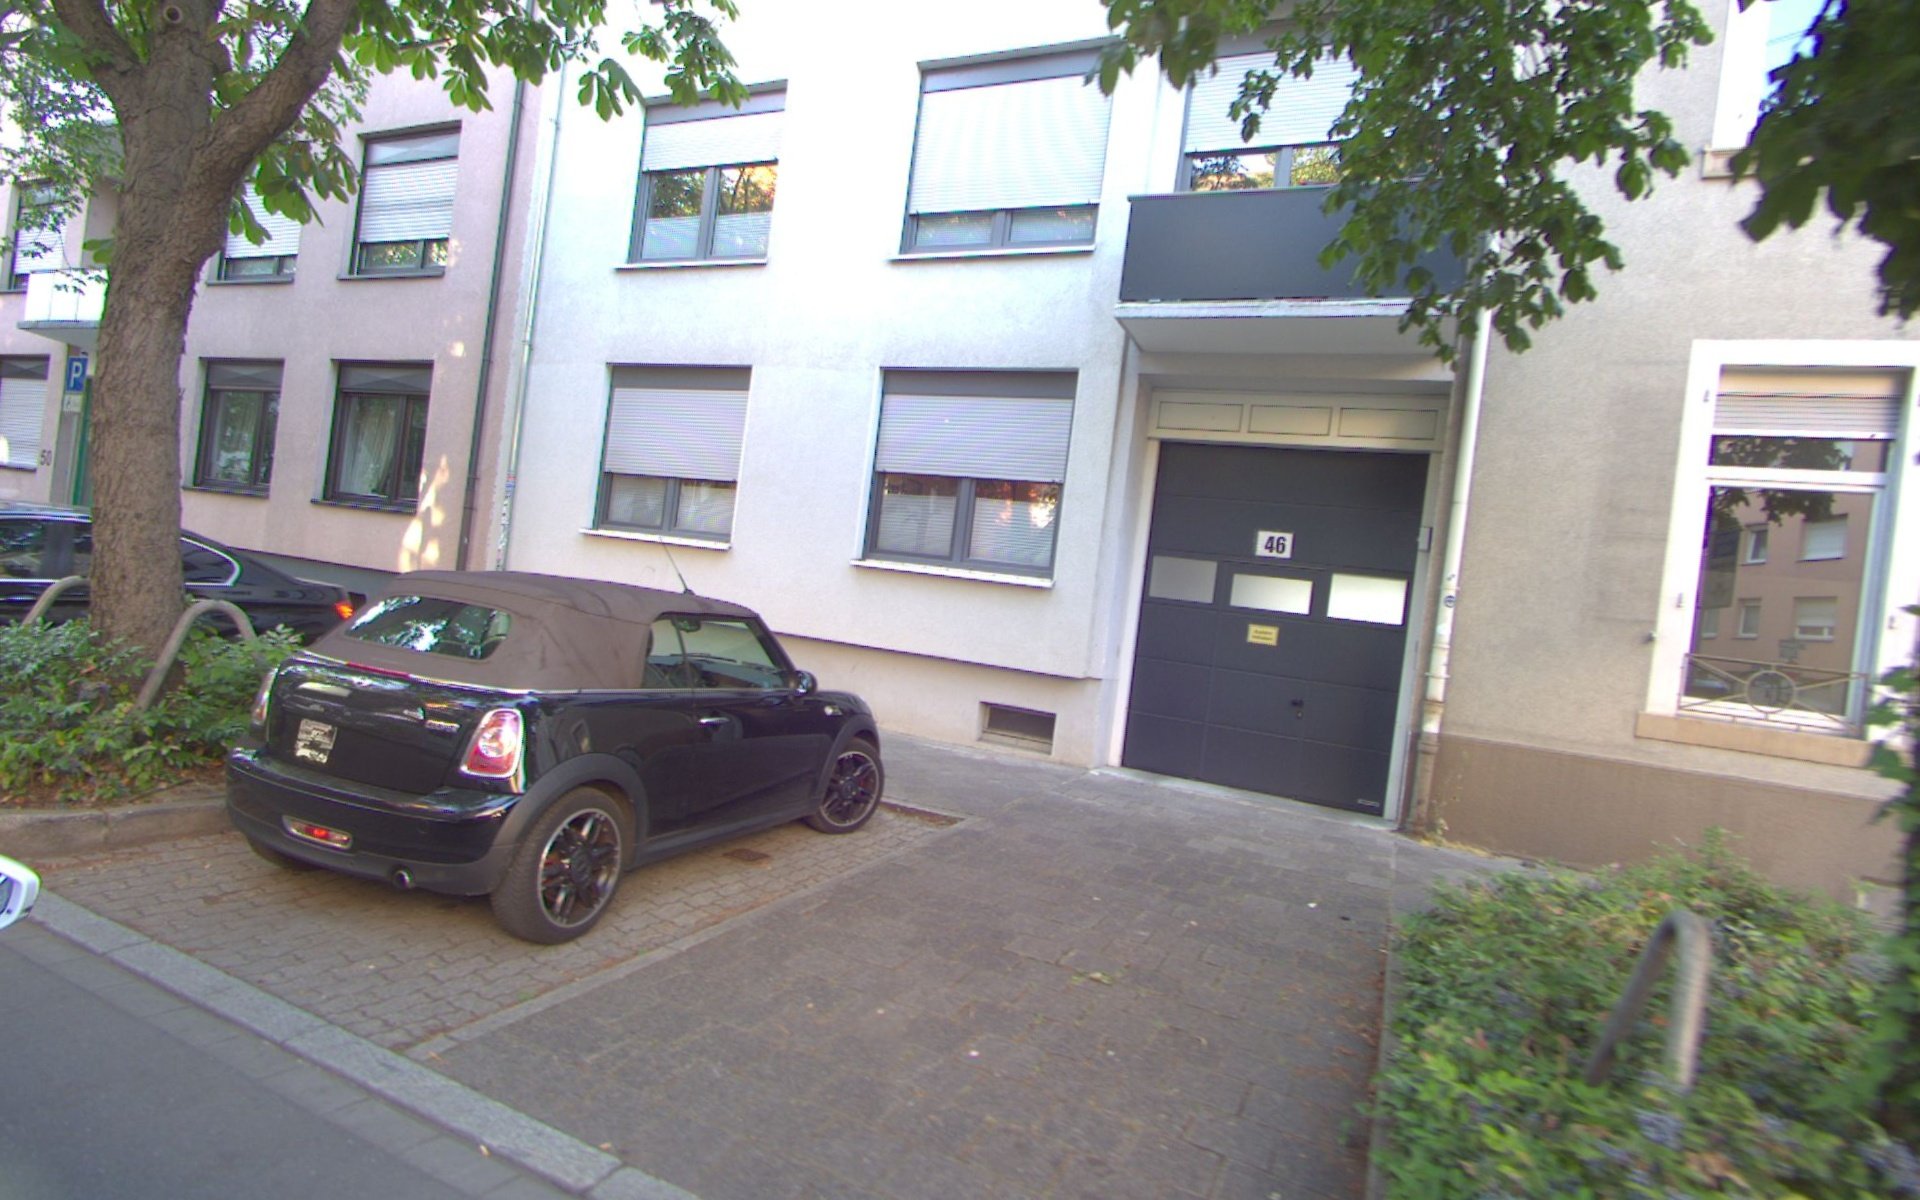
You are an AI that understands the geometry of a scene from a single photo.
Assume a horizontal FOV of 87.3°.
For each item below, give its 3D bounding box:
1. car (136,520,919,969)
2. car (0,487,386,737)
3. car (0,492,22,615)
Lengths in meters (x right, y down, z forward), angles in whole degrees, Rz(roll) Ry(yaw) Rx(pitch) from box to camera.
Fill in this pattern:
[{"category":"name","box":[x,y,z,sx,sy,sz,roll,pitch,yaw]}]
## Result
[{"category":"car","box":[-1.772,0.572,5.355,1.634,1.380,3.622,7,-1,22]},{"category":"car","box":[-6.522,-0.017,6.366,1.768,1.497,4.758,7,-1,26]},{"category":"car","box":[-13.102,-0.771,10.870,1.634,1.494,3.921,7,-1,24]}]
